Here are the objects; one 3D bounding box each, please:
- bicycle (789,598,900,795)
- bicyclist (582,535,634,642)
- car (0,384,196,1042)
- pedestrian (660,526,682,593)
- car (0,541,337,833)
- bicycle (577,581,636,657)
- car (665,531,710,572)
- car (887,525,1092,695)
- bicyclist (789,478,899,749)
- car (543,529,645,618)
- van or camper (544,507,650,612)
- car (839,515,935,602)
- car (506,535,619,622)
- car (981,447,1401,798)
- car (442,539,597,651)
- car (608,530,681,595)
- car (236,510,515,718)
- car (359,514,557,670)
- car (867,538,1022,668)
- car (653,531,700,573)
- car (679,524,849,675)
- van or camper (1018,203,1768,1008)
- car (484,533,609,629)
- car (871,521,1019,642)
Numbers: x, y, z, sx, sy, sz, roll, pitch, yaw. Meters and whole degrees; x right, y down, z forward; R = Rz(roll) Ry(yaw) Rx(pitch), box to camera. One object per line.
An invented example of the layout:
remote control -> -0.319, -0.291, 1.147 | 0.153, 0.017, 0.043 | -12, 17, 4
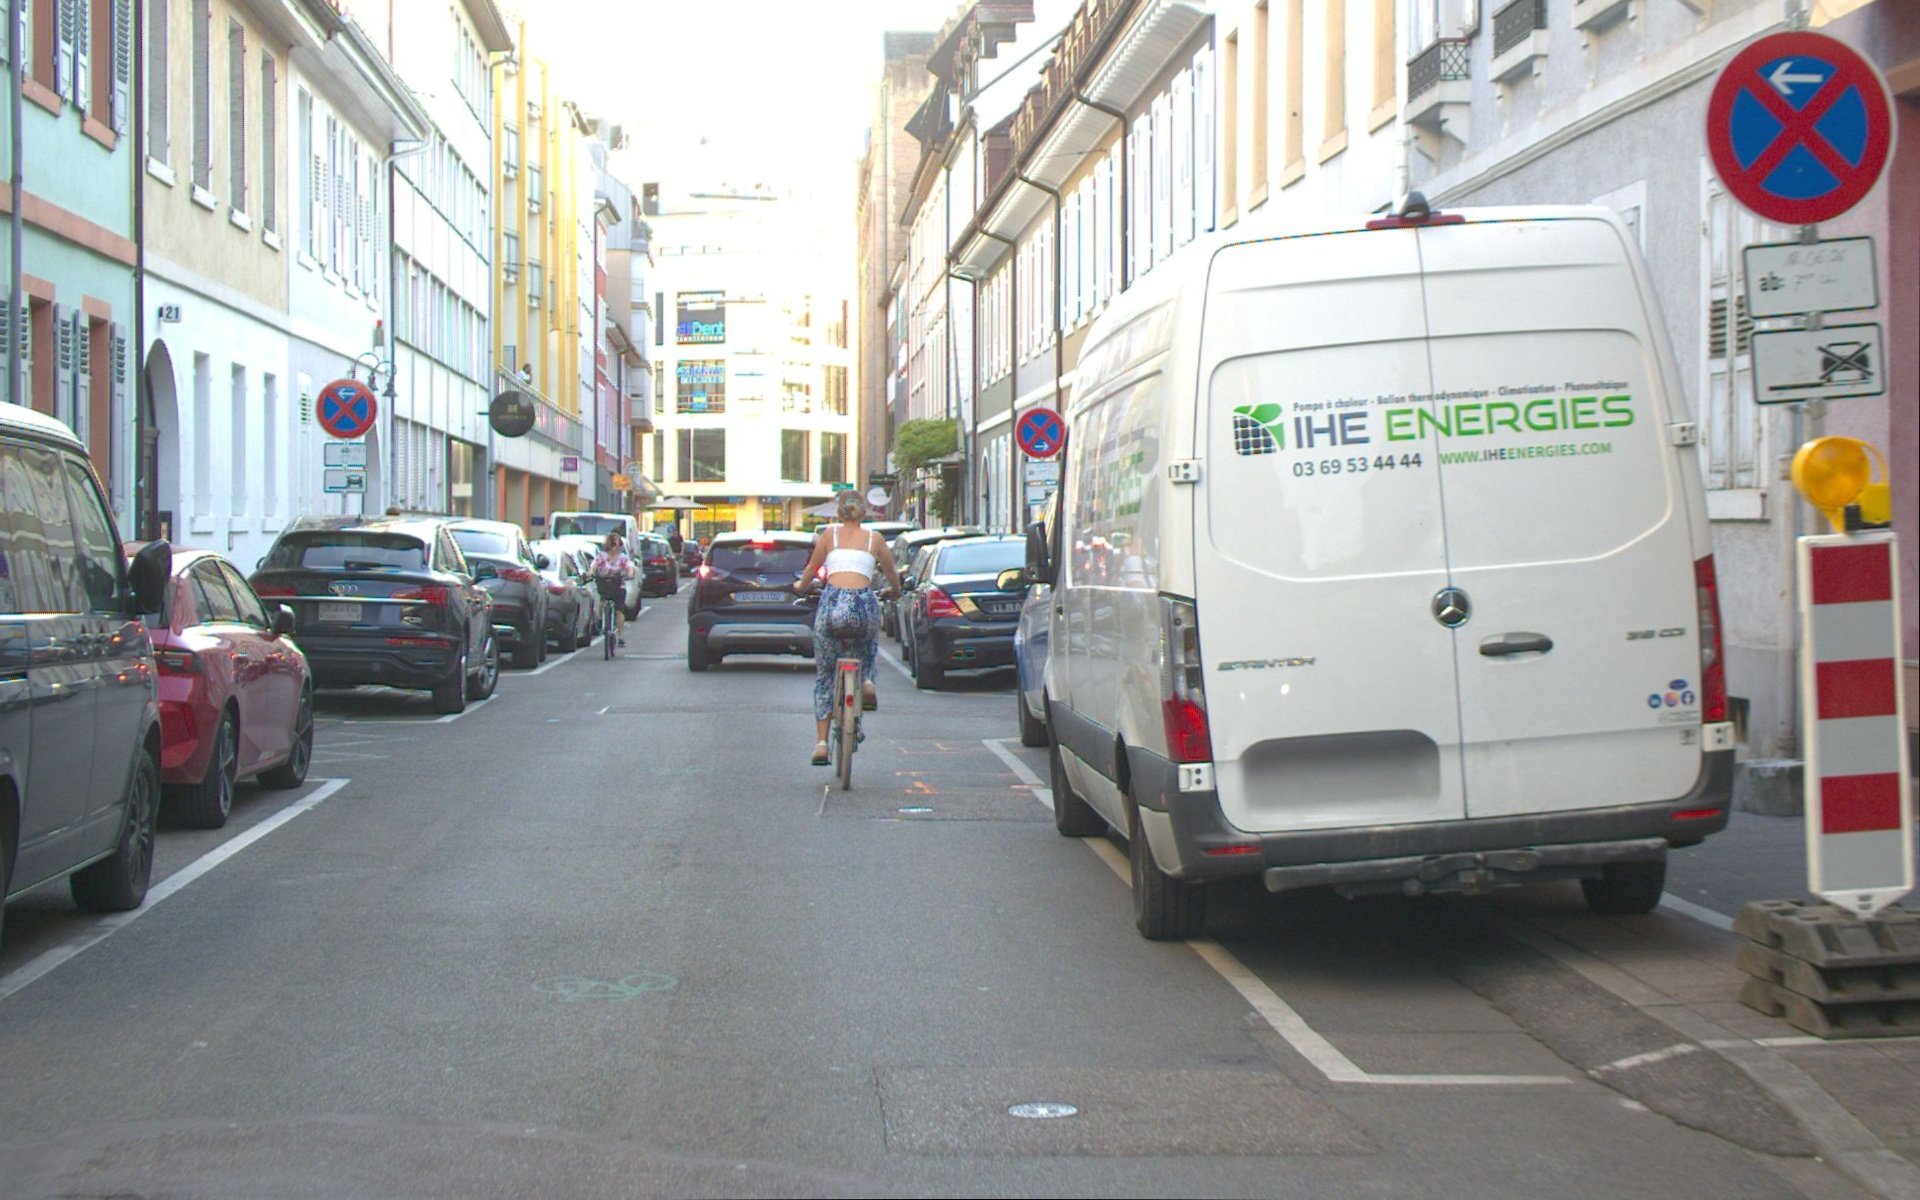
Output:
bicycle -> -0.693, 0.548, 20.427 | 0.613, 1.078, 1.809 | 1, 1, -2
bicyclist -> -4.525, -0.150, 44.216 | 0.605, 1.365, 0.621 | 1, 1, -3
car -> -3.997, 0.305, 12.188 | 1.862, 2.007, 4.815 | 0, 1, -5
pedestrian -> -7.582, -1.069, 90.183 | 0.553, 1.746, 0.568 | 1, 1, -6
car -> -4.596, 0.387, 18.852 | 1.764, 1.397, 4.263 | 1, 1, -3
bicycle -> -4.528, 0.238, 44.147 | 0.613, 0.929, 1.887 | 1, 1, -2
car -> -10.977, -1.964, 138.557 | 1.653, 1.555, 3.606 | 2, 1, -3
car -> 0.229, 0.050, 35.277 | 1.819, 1.525, 5.072 | -3, 1, -2
bicyclist -> -0.689, 0.076, 20.361 | 0.621, 1.569, 0.684 | 1, 1, -2
car -> -6.783, -0.512, 64.002 | 1.653, 1.555, 3.606 | 2, 1, -3
van or camper -> -7.341, -0.845, 69.825 | 1.844, 2.006, 4.679 | 2, 1, -3
car -> -1.393, -0.795, 64.683 | 1.653, 1.555, 3.606 | 2, 1, -3
car -> -6.795, -0.387, 59.017 | 1.653, 1.406, 3.606 | 2, 1, -3
car -> 1.331, 0.085, 22.159 | 1.941, 1.888, 5.318 | -3, 1, -3
car -> -6.043, -0.104, 47.538 | 1.917, 1.429, 4.294 | 2, 1, -5
car -> -7.922, -0.956, 86.501 | 1.653, 1.555, 3.606 | 2, 1, -3
car -> -5.005, 0.069, 29.953 | 1.802, 1.671, 4.490 | 0, 1, -2
car -> -5.922, -0.130, 41.007 | 1.997, 1.701, 4.536 | 2, 1, -5
car -> -0.233, 0.002, 42.360 | 1.676, 1.481, 4.001 | 2, 1, -3
car -> -10.847, -1.851, 131.785 | 1.653, 1.555, 3.606 | 2, 1, -3
car -> -2.281, -0.045, 39.827 | 1.819, 1.612, 4.001 | 2, 1, -4
van or camper -> 1.481, -0.053, 14.790 | 2.050, 2.628, 7.063 | 0, 1, -2
car -> -6.451, -0.316, 53.937 | 1.653, 1.406, 3.903 | 2, 1, -3
car -> -0.273, -0.310, 52.504 | 1.918, 1.732, 4.154 | 2, 1, -4
